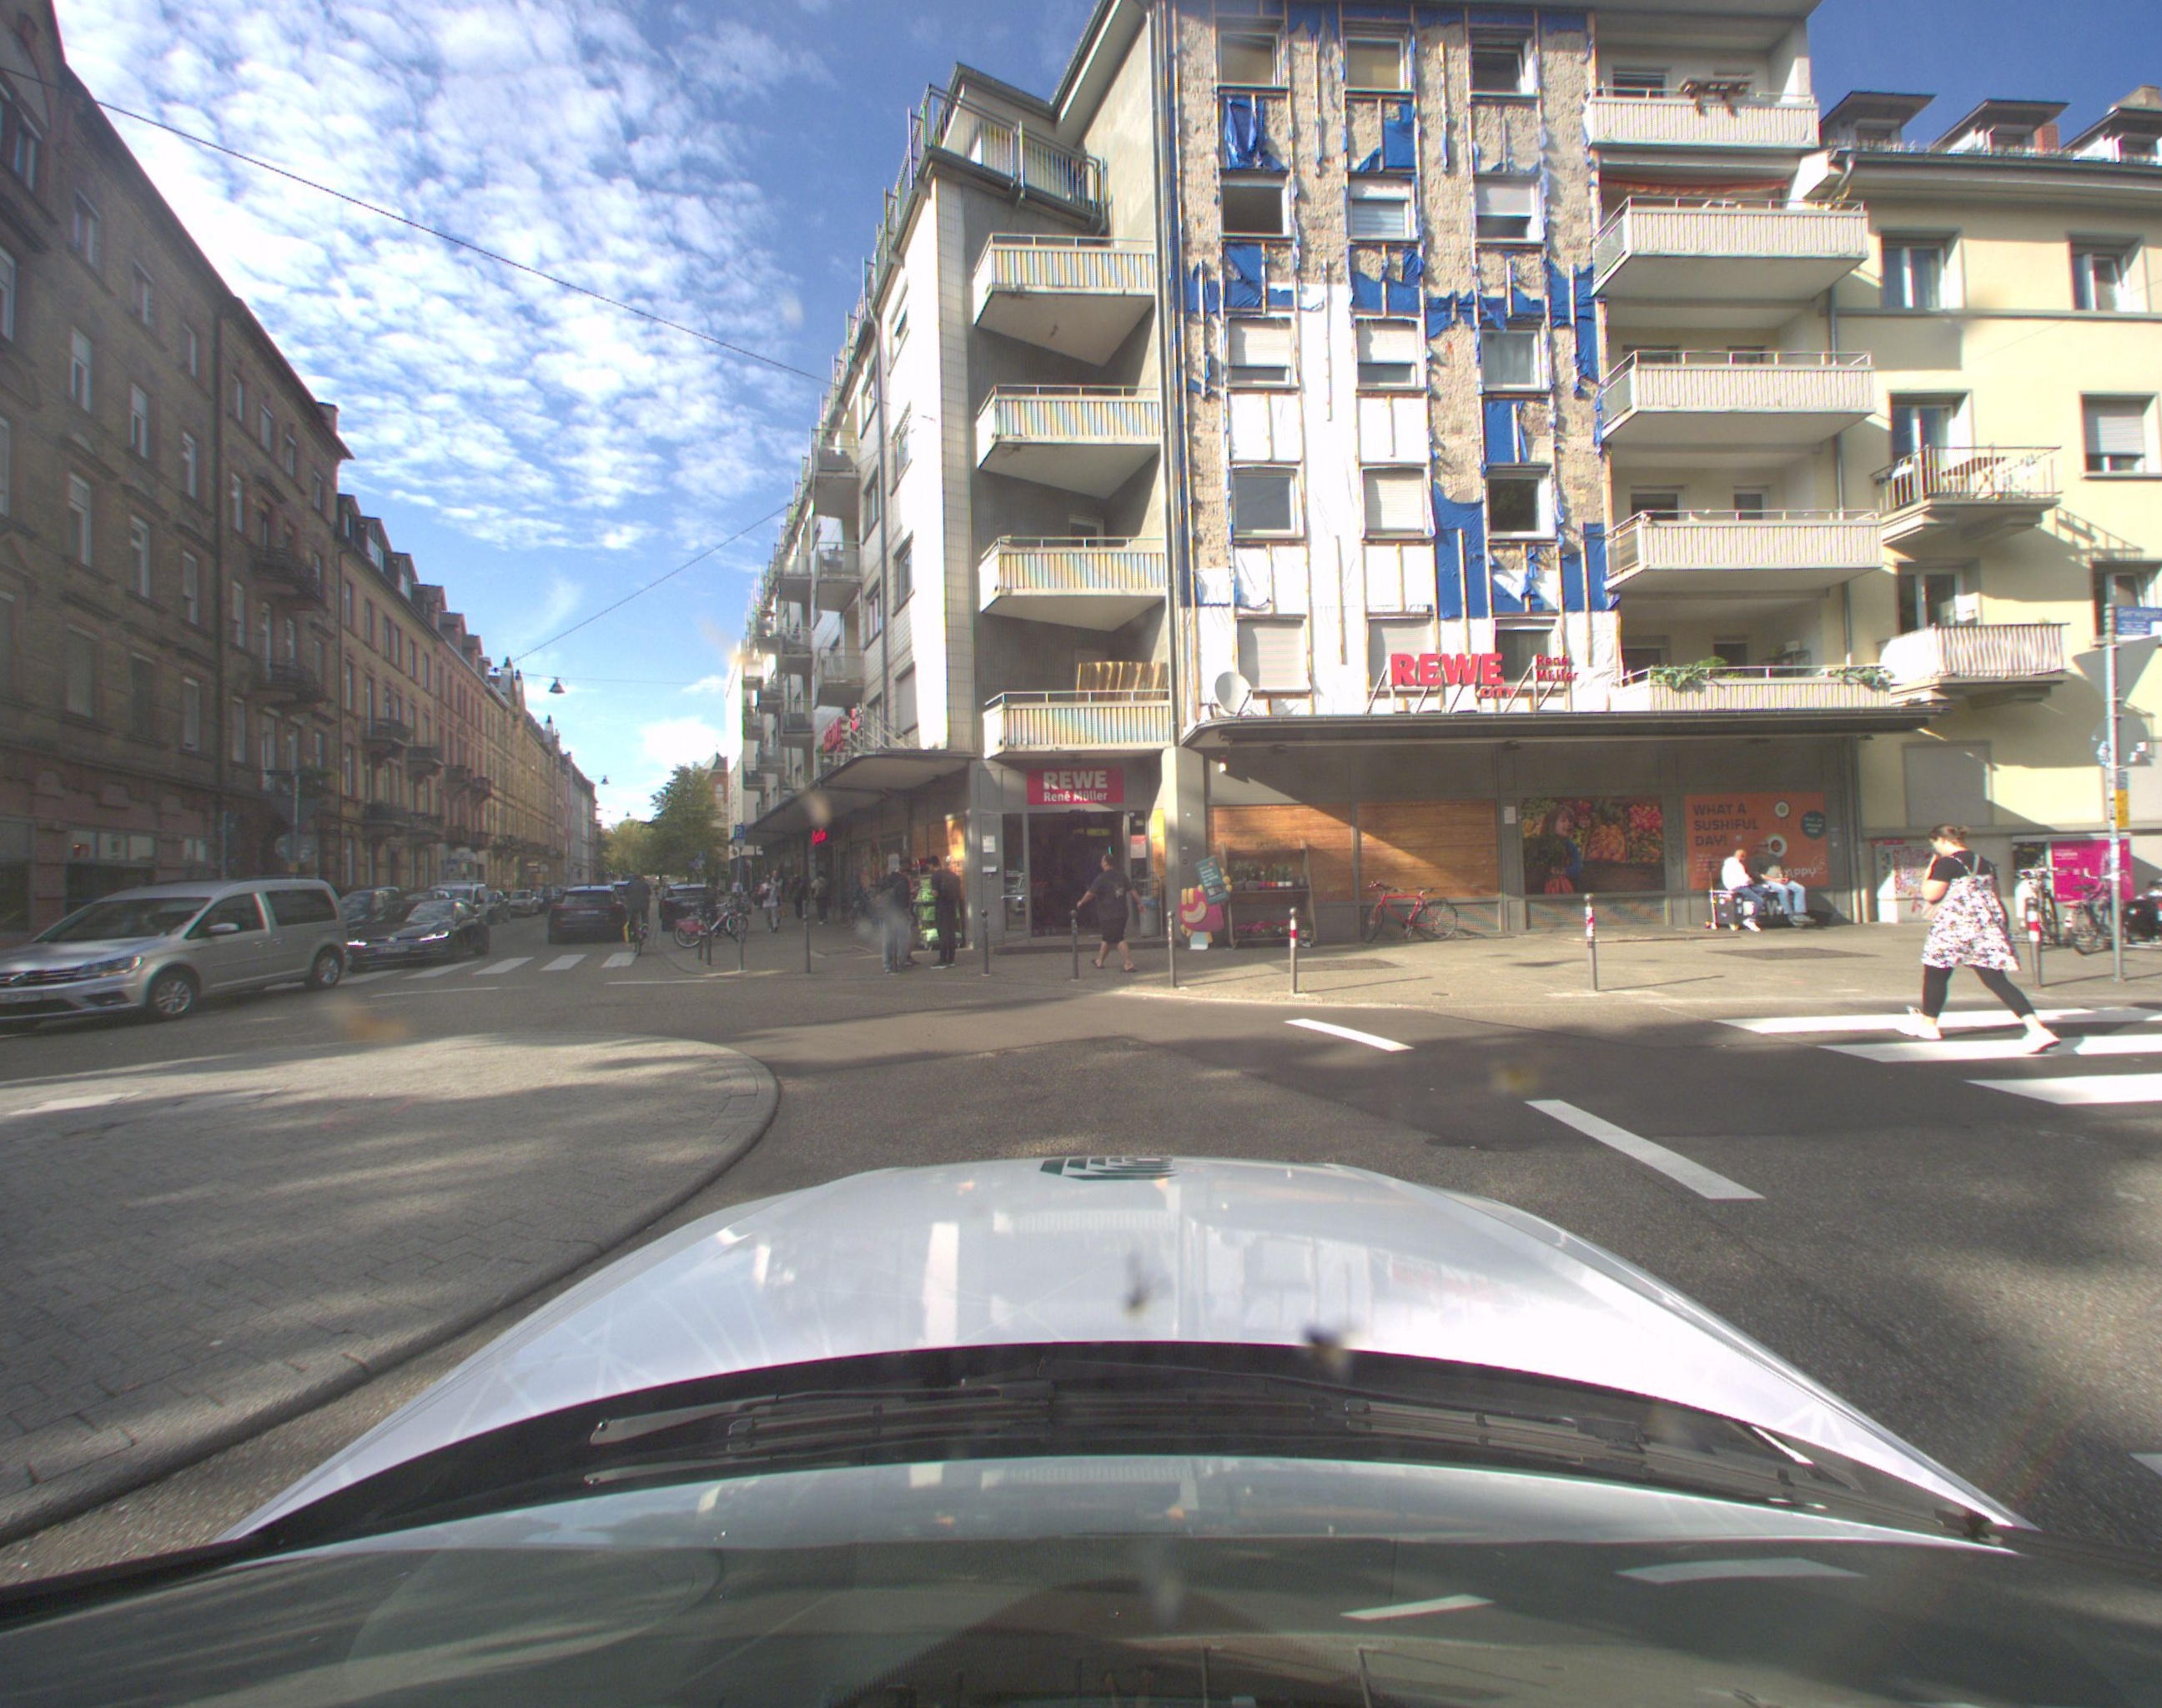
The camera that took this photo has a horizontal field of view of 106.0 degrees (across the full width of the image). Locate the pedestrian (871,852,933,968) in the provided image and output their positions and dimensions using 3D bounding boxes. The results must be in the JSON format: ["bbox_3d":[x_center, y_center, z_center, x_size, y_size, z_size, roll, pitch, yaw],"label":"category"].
[{"bbox_3d":[-2.910,0.890,13.290,0.709,1.797,0.633,-4,1,5],"label":"pedestrian"}]

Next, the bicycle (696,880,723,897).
[{"bbox_3d":[-27.723,2.558,60.834,1.774,1.162,0.645,-3,0,-25],"label":"bicycle"}]

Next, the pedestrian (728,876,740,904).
[{"bbox_3d":[-22.184,2.304,52.057,0.615,1.726,1.117,-2,-1,-26],"label":"pedestrian"}]

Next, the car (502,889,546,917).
[{"bbox_3d":[-33.107,2.871,48.491,1.752,1.484,3.946,0,-2,-28],"label":"car"}]

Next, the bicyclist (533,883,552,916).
[{"bbox_3d":[-28.315,2.385,42.845,0.705,1.678,1.102,1,-2,-29],"label":"bicyclist"}]

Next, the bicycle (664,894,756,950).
[{"bbox_3d":[-9.088,1.638,19.958,1.896,1.125,0.898,-4,0,-33],"label":"bicycle"}]

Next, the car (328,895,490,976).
[{"bbox_3d":[-14.512,1.676,17.841,1.801,1.438,3.965,-3,-2,-26],"label":"car"}]

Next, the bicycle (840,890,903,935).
[{"bbox_3d":[-5.254,1.457,20.377,1.712,1.043,0.682,-4,-2,43],"label":"bicycle"}]

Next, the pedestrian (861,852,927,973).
[{"bbox_3d":[-2.909,0.896,12.720,0.626,1.797,0.717,-4,1,14],"label":"pedestrian"}]

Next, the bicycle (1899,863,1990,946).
[{"bbox_3d":[12.725,0.710,11.989,1.702,1.086,0.418,-3,0,-27],"label":"bicycle"}]

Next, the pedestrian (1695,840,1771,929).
[{"bbox_3d":[11.473,0.529,14.348,0.751,1.506,0.666,-2,-1,-8],"label":"pedestrian"}]

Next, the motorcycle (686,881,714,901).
[{"bbox_3d":[-33.471,3.243,71.589,2.160,1.530,0.681,-3,0,-23],"label":"motorcycle"}]

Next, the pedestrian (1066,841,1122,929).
[{"bbox_3d":[0.264,0.622,16.897,0.768,1.753,0.921,-1,-1,-31],"label":"pedestrian"}]

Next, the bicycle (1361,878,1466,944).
[{"bbox_3d":[5.623,0.958,13.838,1.522,1.033,0.584,-2,0,7],"label":"bicycle"}]

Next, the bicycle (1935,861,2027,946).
[{"bbox_3d":[12.930,0.688,11.686,1.702,1.086,0.418,-3,0,-27],"label":"bicycle"}]

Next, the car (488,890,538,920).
[{"bbox_3d":[-30.878,2.746,44.343,1.752,1.484,3.946,0,-2,-28],"label":"car"}]

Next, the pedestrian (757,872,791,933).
[{"bbox_3d":[-8.793,1.372,23.297,0.805,1.671,1.014,-2,-2,-24],"label":"pedestrian"}]

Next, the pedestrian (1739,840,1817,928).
[{"bbox_3d":[12.304,0.523,14.398,0.665,1.506,0.752,-2,-1,-6],"label":"pedestrian"}]

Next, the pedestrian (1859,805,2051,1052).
[{"bbox_3d":[6.732,0.532,6.301,0.615,1.753,0.834,-1,-1,-29],"label":"pedestrian"}]

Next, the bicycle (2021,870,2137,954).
[{"bbox_3d":[13.223,0.748,10.790,1.500,1.019,0.411,-1,0,-16],"label":"bicycle"}]

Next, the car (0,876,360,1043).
[{"bbox_3d":[-12.527,1.261,11.279,1.830,1.791,4.313,-3,-1,-12],"label":"car"}]

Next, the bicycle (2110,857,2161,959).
[{"bbox_3d":[13.587,0.646,10.267,1.857,1.176,0.409,-1,0,-28],"label":"bicycle"}]

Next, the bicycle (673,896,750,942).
[{"bbox_3d":[-10.184,1.773,22.485,1.802,1.070,0.580,-3,0,-38],"label":"bicycle"}]

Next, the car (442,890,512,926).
[{"bbox_3d":[-26.832,2.376,36.307,1.751,1.484,3.948,1,-3,-26],"label":"car"}]

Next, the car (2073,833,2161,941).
[{"bbox_3d":[16.338,0.451,10.693,1.816,1.455,3.962,-3,1,-29],"label":"car"}]

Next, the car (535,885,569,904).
[{"bbox_3d":[-39.311,2.986,60.548,1.699,1.387,3.832,1,-2,-27],"label":"car"}]

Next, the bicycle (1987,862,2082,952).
[{"bbox_3d":[13.057,0.699,11.145,1.702,1.086,0.418,-3,0,-27],"label":"bicycle"}]

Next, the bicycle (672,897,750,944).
[{"bbox_3d":[-9.920,1.759,21.873,1.802,1.070,0.562,-3,0,-38],"label":"bicycle"}]

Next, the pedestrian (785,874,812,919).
[{"bbox_3d":[-10.333,1.528,29.749,0.828,1.589,0.774,-1,-2,-26],"label":"pedestrian"}]

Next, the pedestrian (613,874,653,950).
[{"bbox_3d":[-10.063,1.281,18.311,0.722,1.650,0.922,0,-2,-26],"label":"pedestrian"}]

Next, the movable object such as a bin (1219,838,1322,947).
[{"bbox_3d":[3.216,0.632,13.867,1.542,1.754,0.689,-2,1,-5],"label":"movable object such as a bin"}]

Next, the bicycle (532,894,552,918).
[{"bbox_3d":[-28.247,2.717,42.715,0.705,1.220,2.097,1,-2,-29],"label":"bicycle"}]

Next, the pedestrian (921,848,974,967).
[{"bbox_3d":[-2.136,0.826,13.006,0.654,1.797,0.655,-4,1,-15],"label":"pedestrian"}]

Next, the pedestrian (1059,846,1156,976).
[{"bbox_3d":[0.382,0.801,11.921,0.856,1.746,1.037,-4,0,-37],"label":"pedestrian"}]

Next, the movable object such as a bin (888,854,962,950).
[{"bbox_3d":[-3.140,0.917,16.215,0.784,1.744,2.401,-1,-1,-27],"label":"movable object such as a bin"}]

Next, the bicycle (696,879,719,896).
[{"bbox_3d":[-28.633,2.578,62.405,1.504,1.146,0.408,-3,0,-28],"label":"bicycle"}]

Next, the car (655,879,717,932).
[{"bbox_3d":[-14.200,1.780,29.298,1.802,1.605,3.889,-4,0,-27],"label":"car"}]

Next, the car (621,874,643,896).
[{"bbox_3d":[-43.197,2.961,78.447,1.792,2.020,3.852,0,-2,-28],"label":"car"}]

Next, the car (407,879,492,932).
[{"bbox_3d":[-24.836,1.957,32.207,1.931,1.872,4.396,0,-1,-28],"label":"car"}]

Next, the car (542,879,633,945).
[{"bbox_3d":[-14.411,1.640,23.989,1.975,1.741,4.005,0,-3,-27],"label":"car"}]

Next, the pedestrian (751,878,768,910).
[{"bbox_3d":[-16.384,2.029,41.478,0.647,1.588,0.774,-3,-1,-26],"label":"pedestrian"}]

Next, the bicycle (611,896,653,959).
[{"bbox_3d":[-10.013,1.599,18.214,0.722,1.274,1.867,0,-2,-26],"label":"bicycle"}]

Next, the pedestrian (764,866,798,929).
[{"bbox_3d":[-9.297,1.330,25.259,0.887,1.834,1.040,-3,-1,-20],"label":"pedestrian"}]

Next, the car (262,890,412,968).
[{"bbox_3d":[-18.988,1.828,21.027,1.770,1.774,4.365,2,-3,-28],"label":"car"}]

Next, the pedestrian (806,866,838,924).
[{"bbox_3d":[-8.162,1.266,25.648,0.718,1.746,0.809,-4,0,-29],"label":"pedestrian"}]

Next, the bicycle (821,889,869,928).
[{"bbox_3d":[-6.785,1.538,23.383,0.747,1.015,1.764,-4,0,-34],"label":"bicycle"}]
